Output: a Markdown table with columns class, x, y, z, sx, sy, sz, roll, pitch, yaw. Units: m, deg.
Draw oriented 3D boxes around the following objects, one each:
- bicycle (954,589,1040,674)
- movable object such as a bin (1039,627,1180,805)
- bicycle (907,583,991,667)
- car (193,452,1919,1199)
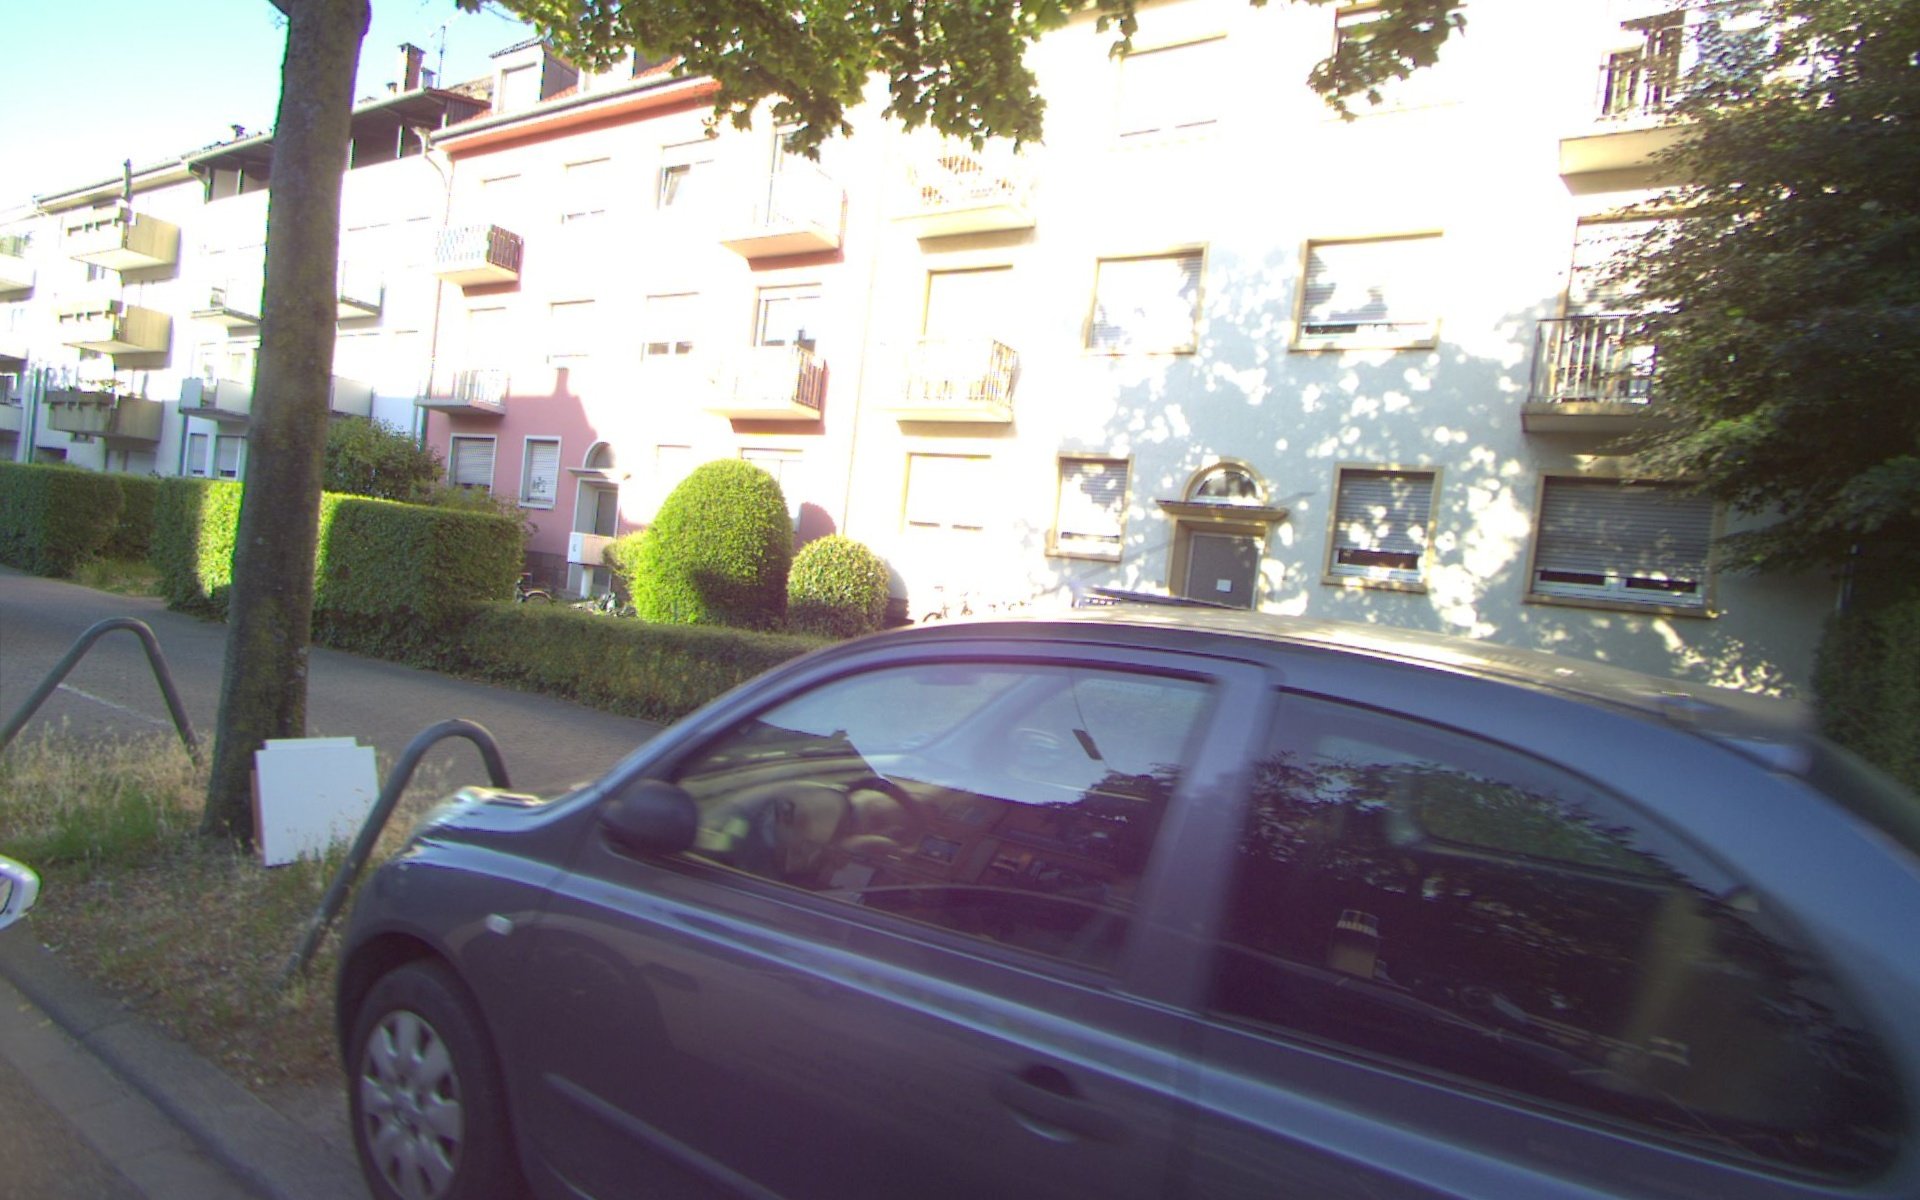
| class | x | y | z | sx | sy | sz | roll | pitch | yaw |
| --- | --- | --- | --- | --- | --- | --- | --- | --- | --- |
| bicycle | 0.535 | 0.459 | 13.881 | 0.418 | 1.069 | 1.651 | 7 | 0 | 26 |
| movable object such as a bin | 1.189 | 0.897 | 8.002 | 0.814 | 1.255 | 0.553 | 8 | 1 | 32 |
| bicycle | -0.135 | 0.374 | 14.144 | 0.418 | 1.069 | 1.525 | 7 | 0 | 26 |
| car | 0.155 | 0.673 | 2.262 | 3.585 | 1.570 | 1.734 | 7 | 1 | 32 |
